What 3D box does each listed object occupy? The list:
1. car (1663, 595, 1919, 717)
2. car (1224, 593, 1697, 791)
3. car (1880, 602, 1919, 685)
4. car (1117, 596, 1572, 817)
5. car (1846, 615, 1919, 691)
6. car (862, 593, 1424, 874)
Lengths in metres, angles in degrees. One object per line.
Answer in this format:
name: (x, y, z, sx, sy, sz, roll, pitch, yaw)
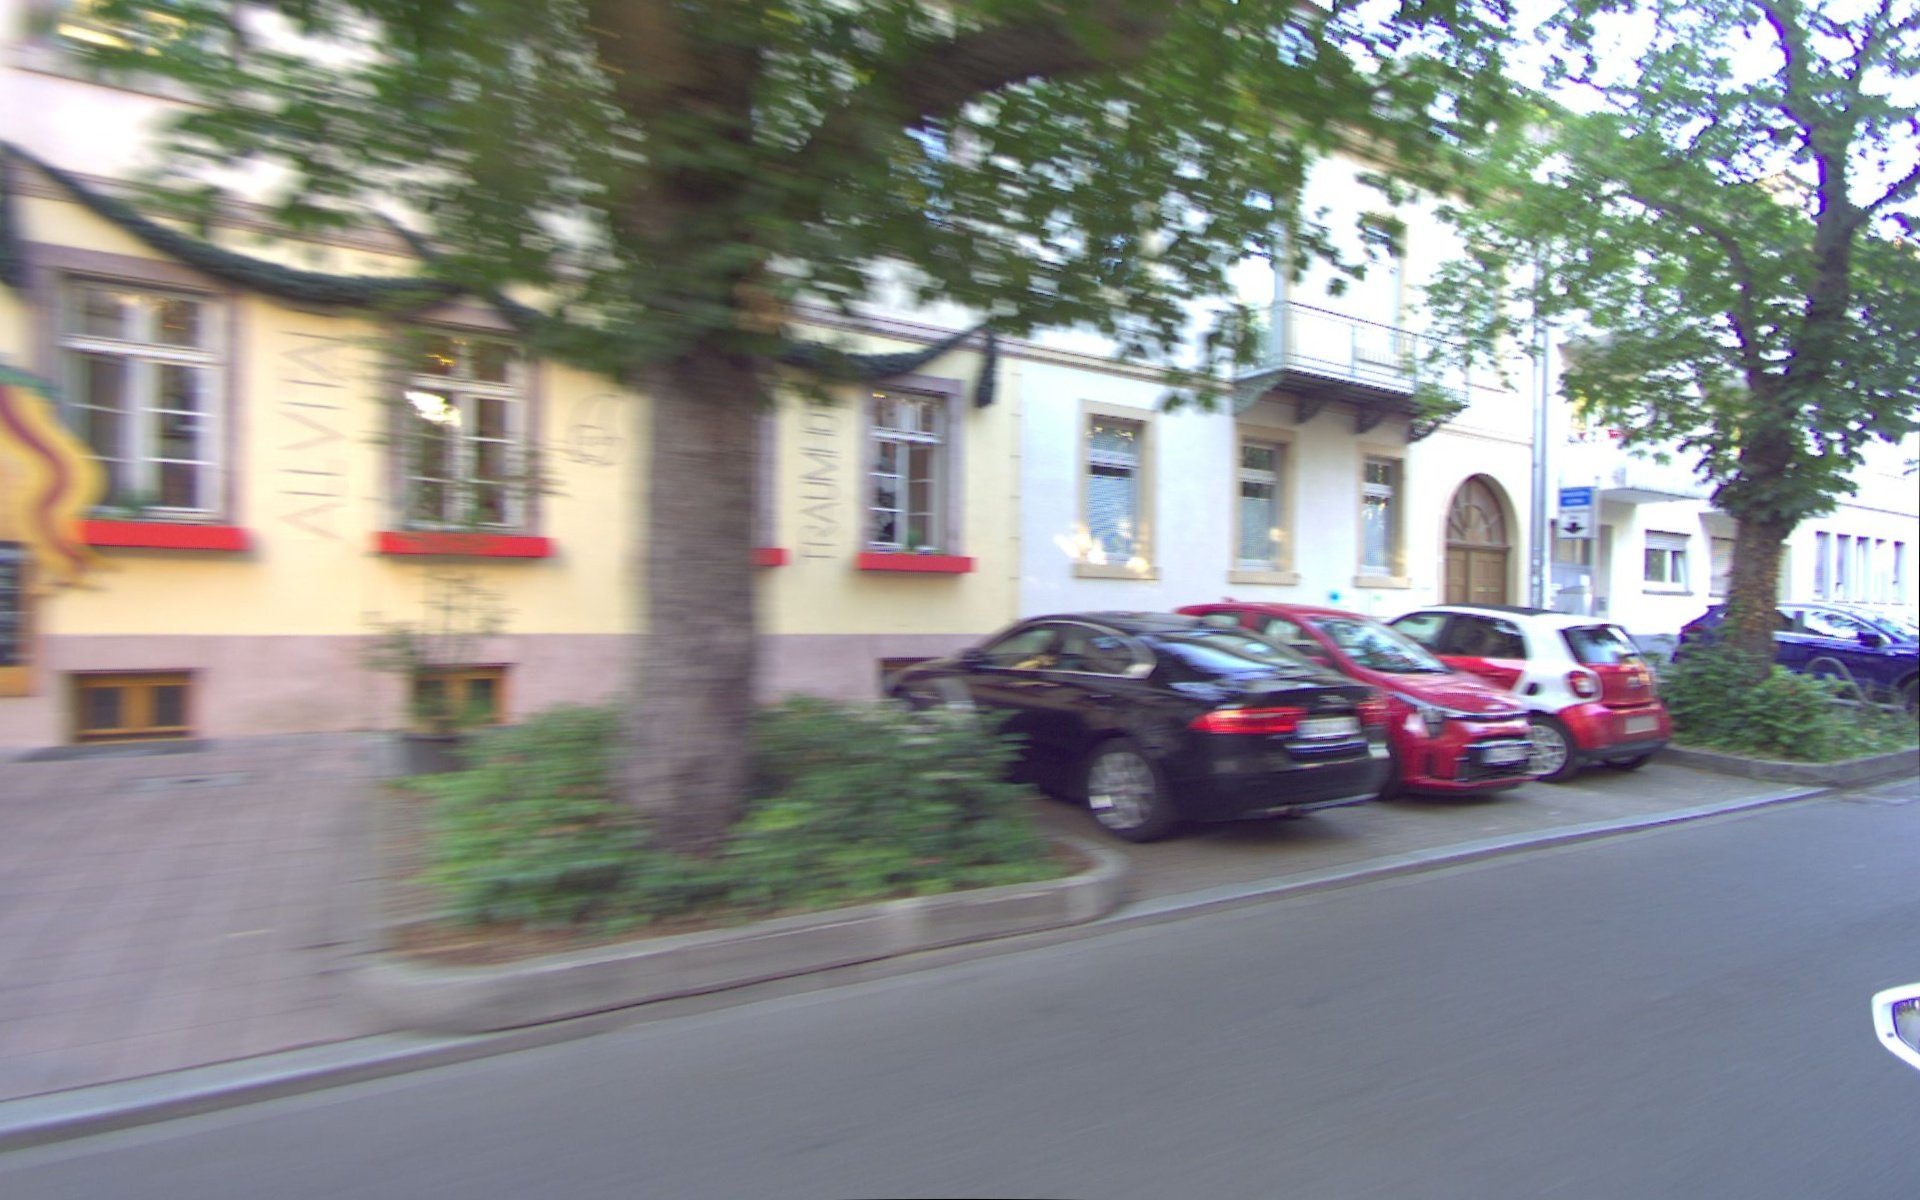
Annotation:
car: (13.955, 0.833, 15.773, 1.908, 1.594, 4.332, 1, 2, -30)
car: (5.136, 0.808, 10.982, 1.751, 1.559, 4.332, 2, 1, -30)
car: (22.630, 1.003, 20.972, 2.132, 1.789, 4.641, 1, 1, -31)
car: (3.275, 0.775, 9.254, 1.640, 1.469, 3.665, 1, 2, -30)
car: (20.289, 1.098, 19.813, 1.833, 1.470, 3.826, 0, 1, -30)
car: (1.051, 0.754, 7.835, 1.701, 1.426, 4.396, 2, 1, -34)
